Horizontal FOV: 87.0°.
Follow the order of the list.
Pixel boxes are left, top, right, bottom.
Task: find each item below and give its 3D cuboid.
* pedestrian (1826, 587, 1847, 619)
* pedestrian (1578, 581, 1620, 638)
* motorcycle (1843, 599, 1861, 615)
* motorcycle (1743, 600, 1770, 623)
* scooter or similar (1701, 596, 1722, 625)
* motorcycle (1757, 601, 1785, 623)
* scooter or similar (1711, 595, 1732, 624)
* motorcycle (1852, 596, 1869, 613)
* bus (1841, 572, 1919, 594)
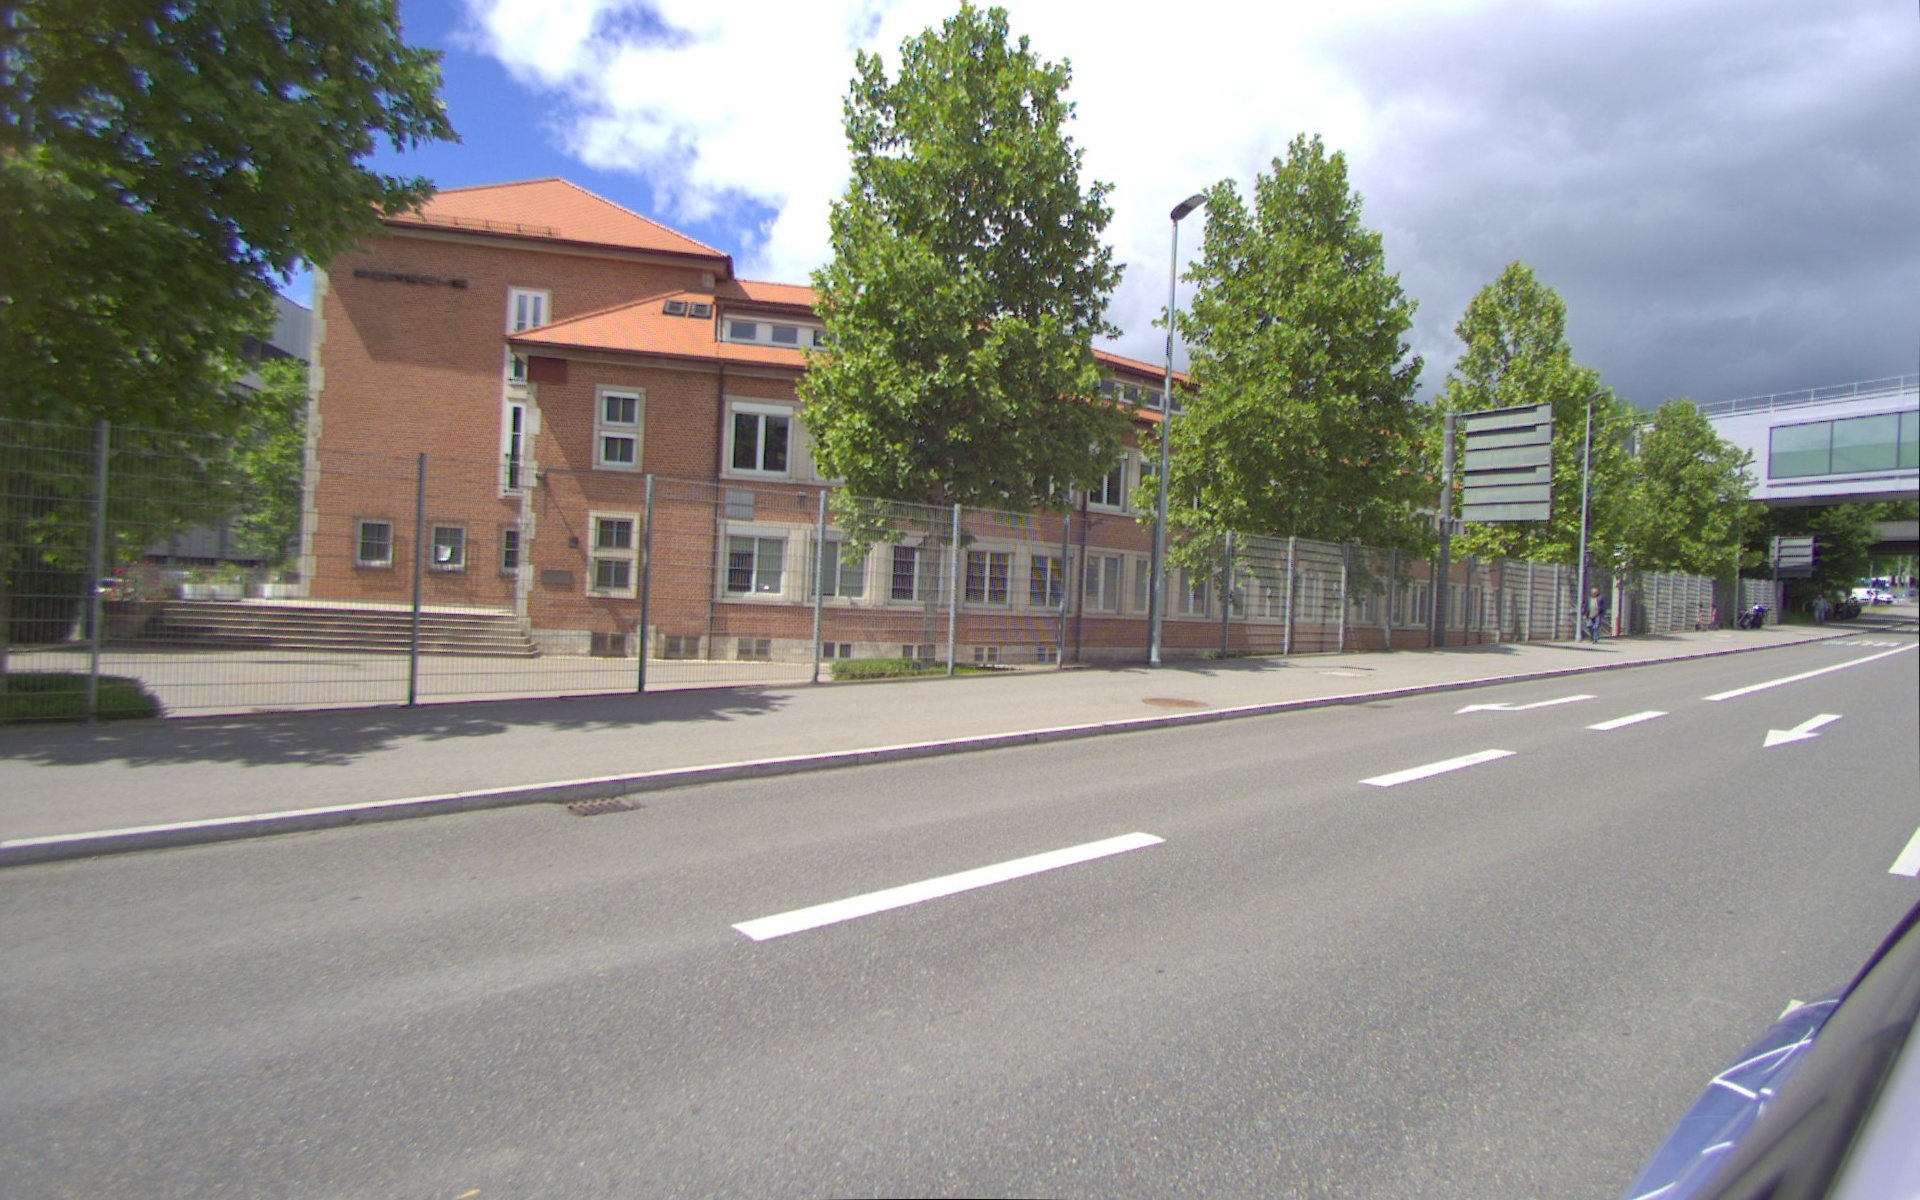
[{"bbox_3d":[53.077,0.189,61.300,1.078,1.911,0.790,0,2,-42],"label":"pedestrian"},{"bbox_3d":[20.824,0.299,32.987,0.924,1.764,0.879,0,3,-42],"label":"pedestrian"},{"bbox_3d":[63.627,0.492,72.206,2.076,1.169,0.679,0,2,-41],"label":"motorcycle"},{"bbox_3d":[39.640,0.554,50.358,2.208,1.077,0.669,0,4,-42],"label":"motorcycle"},{"bbox_3d":[34.116,0.474,45.938,1.314,1.310,0.492,0,2,-42],"label":"scooter or similar"},{"bbox_3d":[41.973,0.597,52.360,2.467,1.077,0.709,0,4,-42],"label":"motorcycle"},{"bbox_3d":[35.595,0.448,47.282,1.314,1.310,0.492,0,2,-42],"label":"scooter or similar"},{"bbox_3d":[65.556,0.324,73.658,2.124,1.157,0.679,0,2,-43],"label":"motorcycle"},{"bbox_3d":[128.370,-2.292,139.820,2.606,2.972,9.770,-1,1,-41],"label":"bus"}]
